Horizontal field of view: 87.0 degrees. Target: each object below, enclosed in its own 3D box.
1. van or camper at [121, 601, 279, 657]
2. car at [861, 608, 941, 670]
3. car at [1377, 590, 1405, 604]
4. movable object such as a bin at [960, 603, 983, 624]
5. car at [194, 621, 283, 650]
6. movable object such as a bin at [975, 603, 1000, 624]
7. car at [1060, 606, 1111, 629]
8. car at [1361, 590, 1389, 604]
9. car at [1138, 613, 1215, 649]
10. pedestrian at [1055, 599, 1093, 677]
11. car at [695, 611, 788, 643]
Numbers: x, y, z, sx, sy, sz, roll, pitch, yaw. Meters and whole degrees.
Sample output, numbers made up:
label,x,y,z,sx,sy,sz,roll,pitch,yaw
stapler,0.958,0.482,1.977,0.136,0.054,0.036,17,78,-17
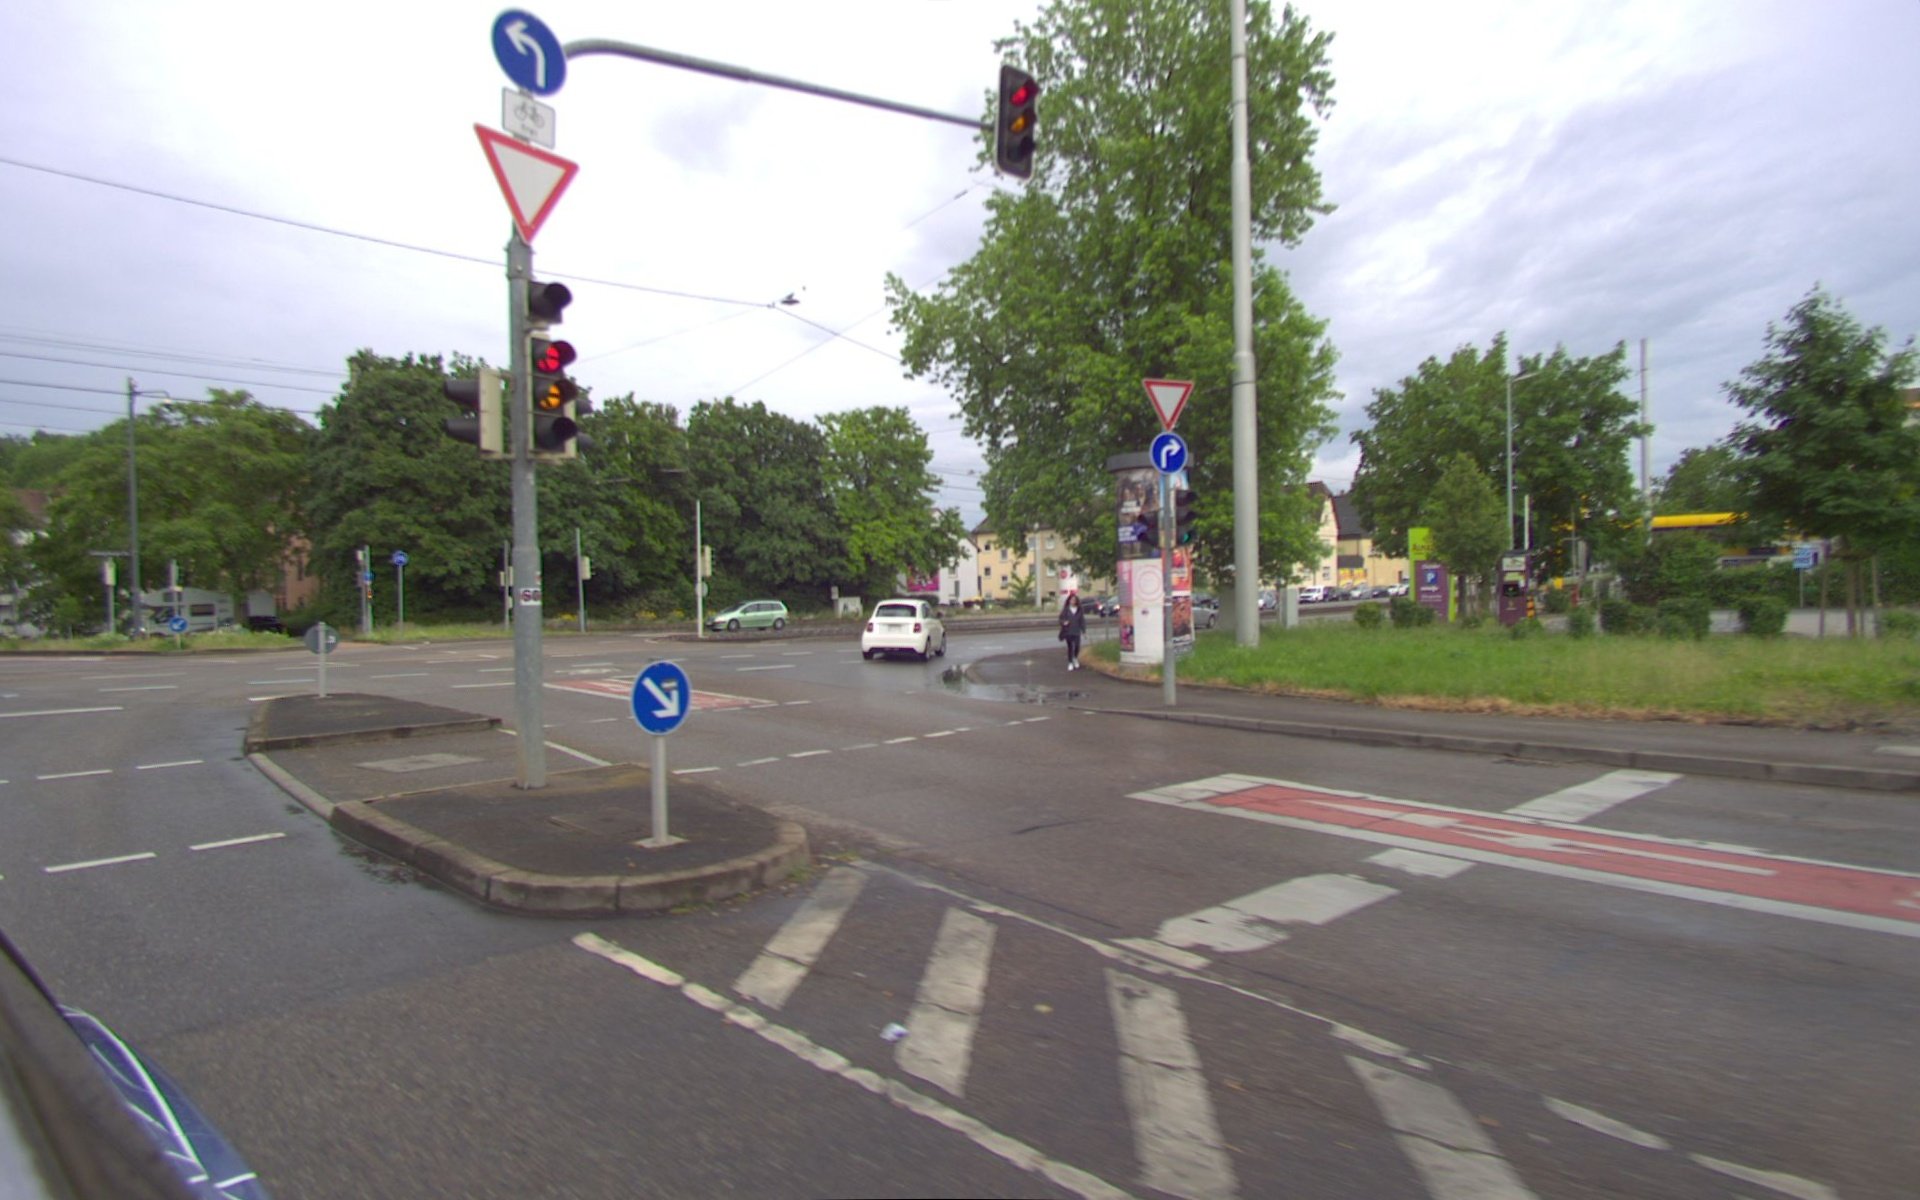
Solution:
label,x,y,z,sx,sy,sz,roll,pitch,yaw
van or camper,-40.202,1.497,53.714,2.429,2.775,6.346,-2,-1,40
car,-1.472,0.962,26.480,1.670,1.494,3.996,0,0,3
car,51.566,-0.336,121.019,4.139,1.475,1.607,-3,0,-45
movable object such as a bin,0.849,1.023,74.544,1.188,1.428,1.119,-4,0,42
car,-37.448,1.815,52.588,1.676,1.364,3.429,-2,-1,37
movable object such as a bin,2.066,1.020,75.847,1.315,1.428,1.282,-4,0,42
car,11.112,1.576,89.780,1.851,1.668,4.293,-4,-1,-42
car,48.216,-0.332,117.584,3.736,1.412,1.607,-3,-1,-45
car,9.707,1.341,45.118,1.590,1.448,4.370,-1,0,38
pedestrian,2.323,0.760,20.737,0.584,1.543,0.669,-4,0,-1
car,-10.780,1.309,50.140,1.890,1.460,4.141,-2,-1,43
